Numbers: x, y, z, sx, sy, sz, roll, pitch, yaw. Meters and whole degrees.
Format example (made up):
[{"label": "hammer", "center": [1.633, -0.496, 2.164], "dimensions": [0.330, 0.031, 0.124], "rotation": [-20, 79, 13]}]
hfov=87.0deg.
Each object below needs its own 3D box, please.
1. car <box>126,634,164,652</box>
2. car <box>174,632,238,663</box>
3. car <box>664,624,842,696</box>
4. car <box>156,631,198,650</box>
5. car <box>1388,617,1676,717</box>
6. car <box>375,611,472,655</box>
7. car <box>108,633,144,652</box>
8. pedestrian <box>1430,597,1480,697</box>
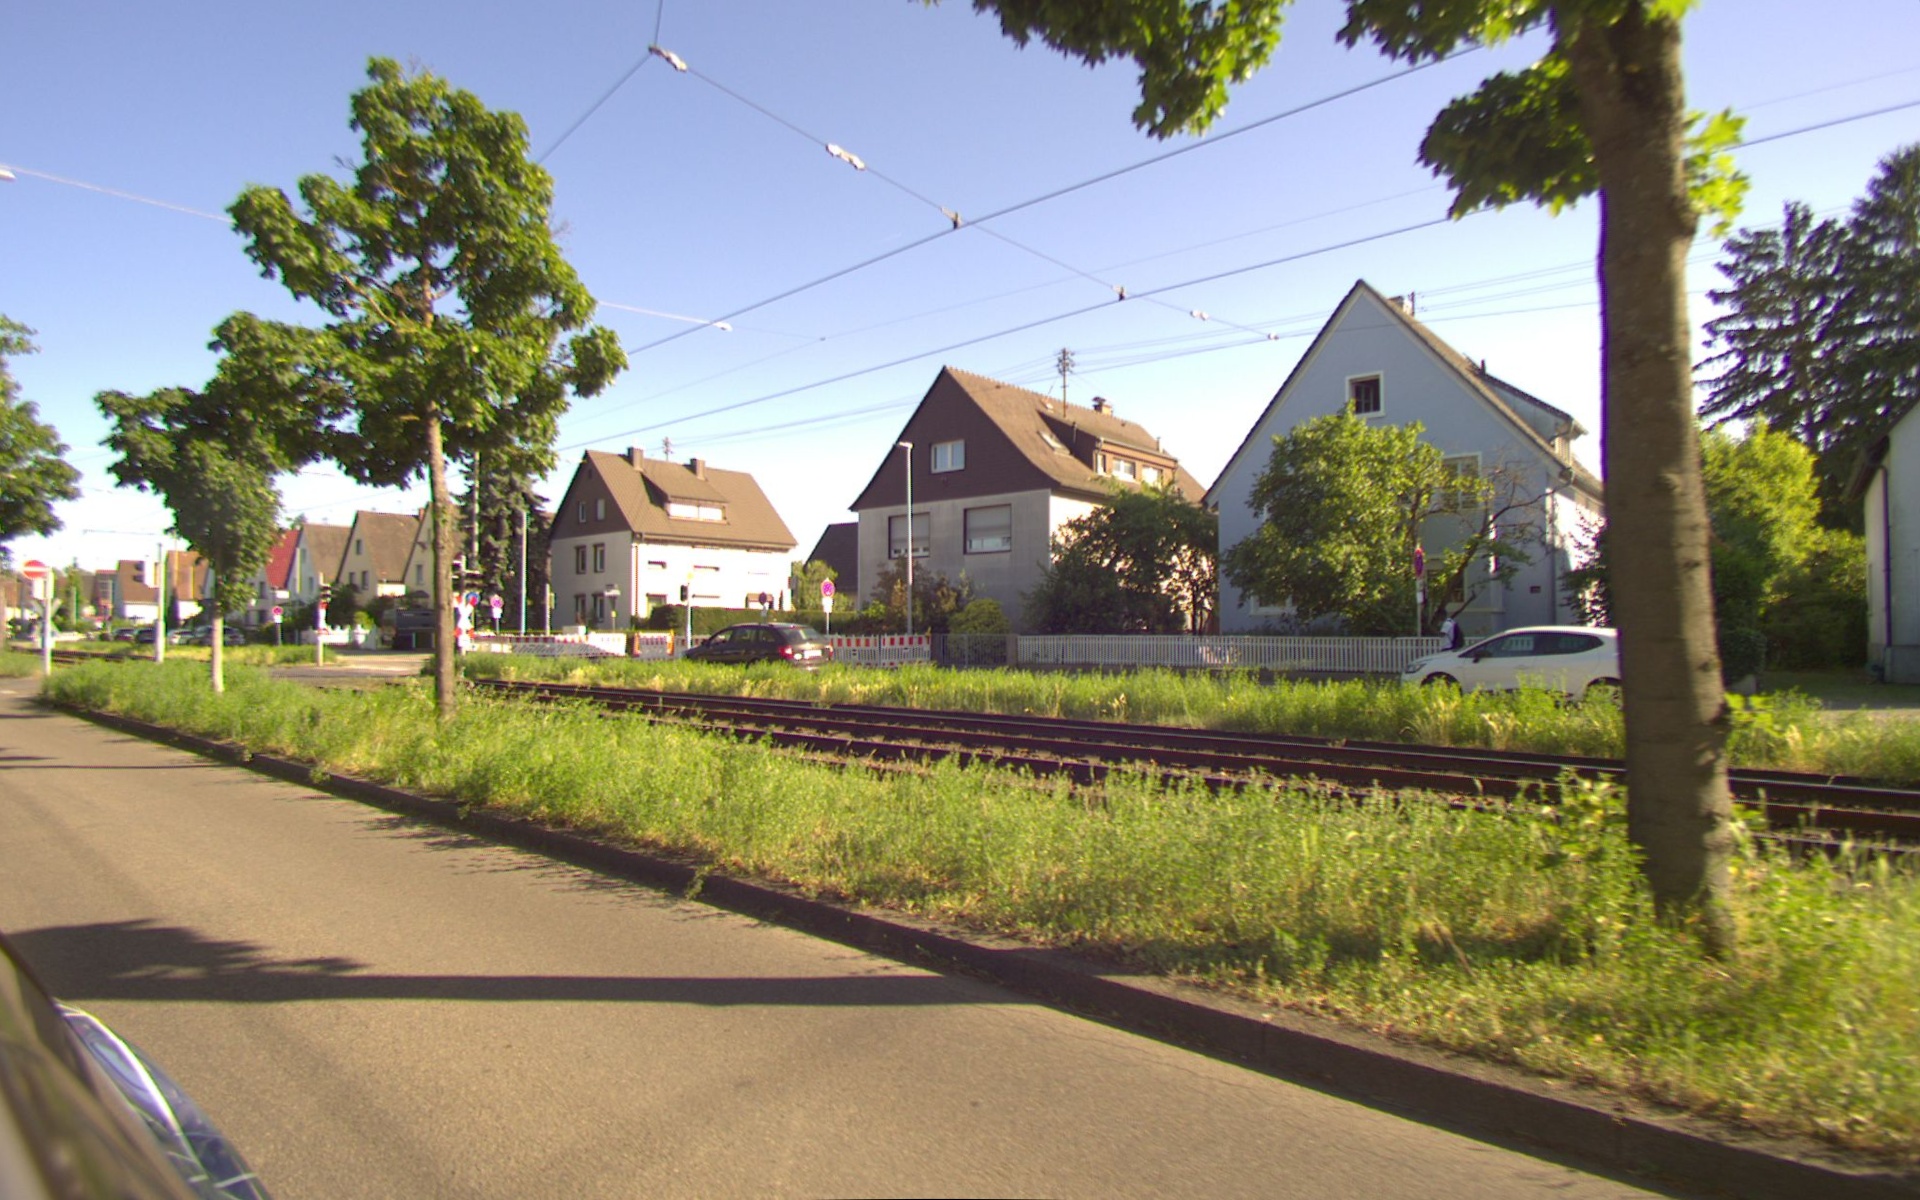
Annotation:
[{"label": "car", "center": [-73.786, 3.839, 91.585], "dimensions": [4.253, 1.506, 1.906], "rotation": [-1, 0, 41]}, {"label": "car", "center": [-42.803, 2.637, 57.429], "dimensions": [4.470, 1.616, 1.973], "rotation": [-1, 0, 40]}, {"label": "car", "center": [-5.135, 1.391, 24.673], "dimensions": [4.807, 1.564, 1.644], "rotation": [-1, 0, 41]}, {"label": "car", "center": [-63.575, 3.283, 82.173], "dimensions": [4.409, 1.437, 1.972], "rotation": [-1, 0, 42]}, {"label": "car", "center": [10.172, 1.113, 18.172], "dimensions": [4.225, 1.553, 1.841], "rotation": [-1, 0, 40]}, {"label": "car", "center": [-33.669, 2.030, 63.605], "dimensions": [2.101, 2.645, 4.977], "rotation": [-3, -2, 40]}, {"label": "car", "center": [-80.237, 4.099, 97.327], "dimensions": [4.388, 1.726, 1.973], "rotation": [-1, 0, 41]}, {"label": "pedestrian", "center": [10.296, 0.958, 21.046], "dimensions": [0.772, 2.029, 0.674], "rotation": [-2, -1, 40]}]
